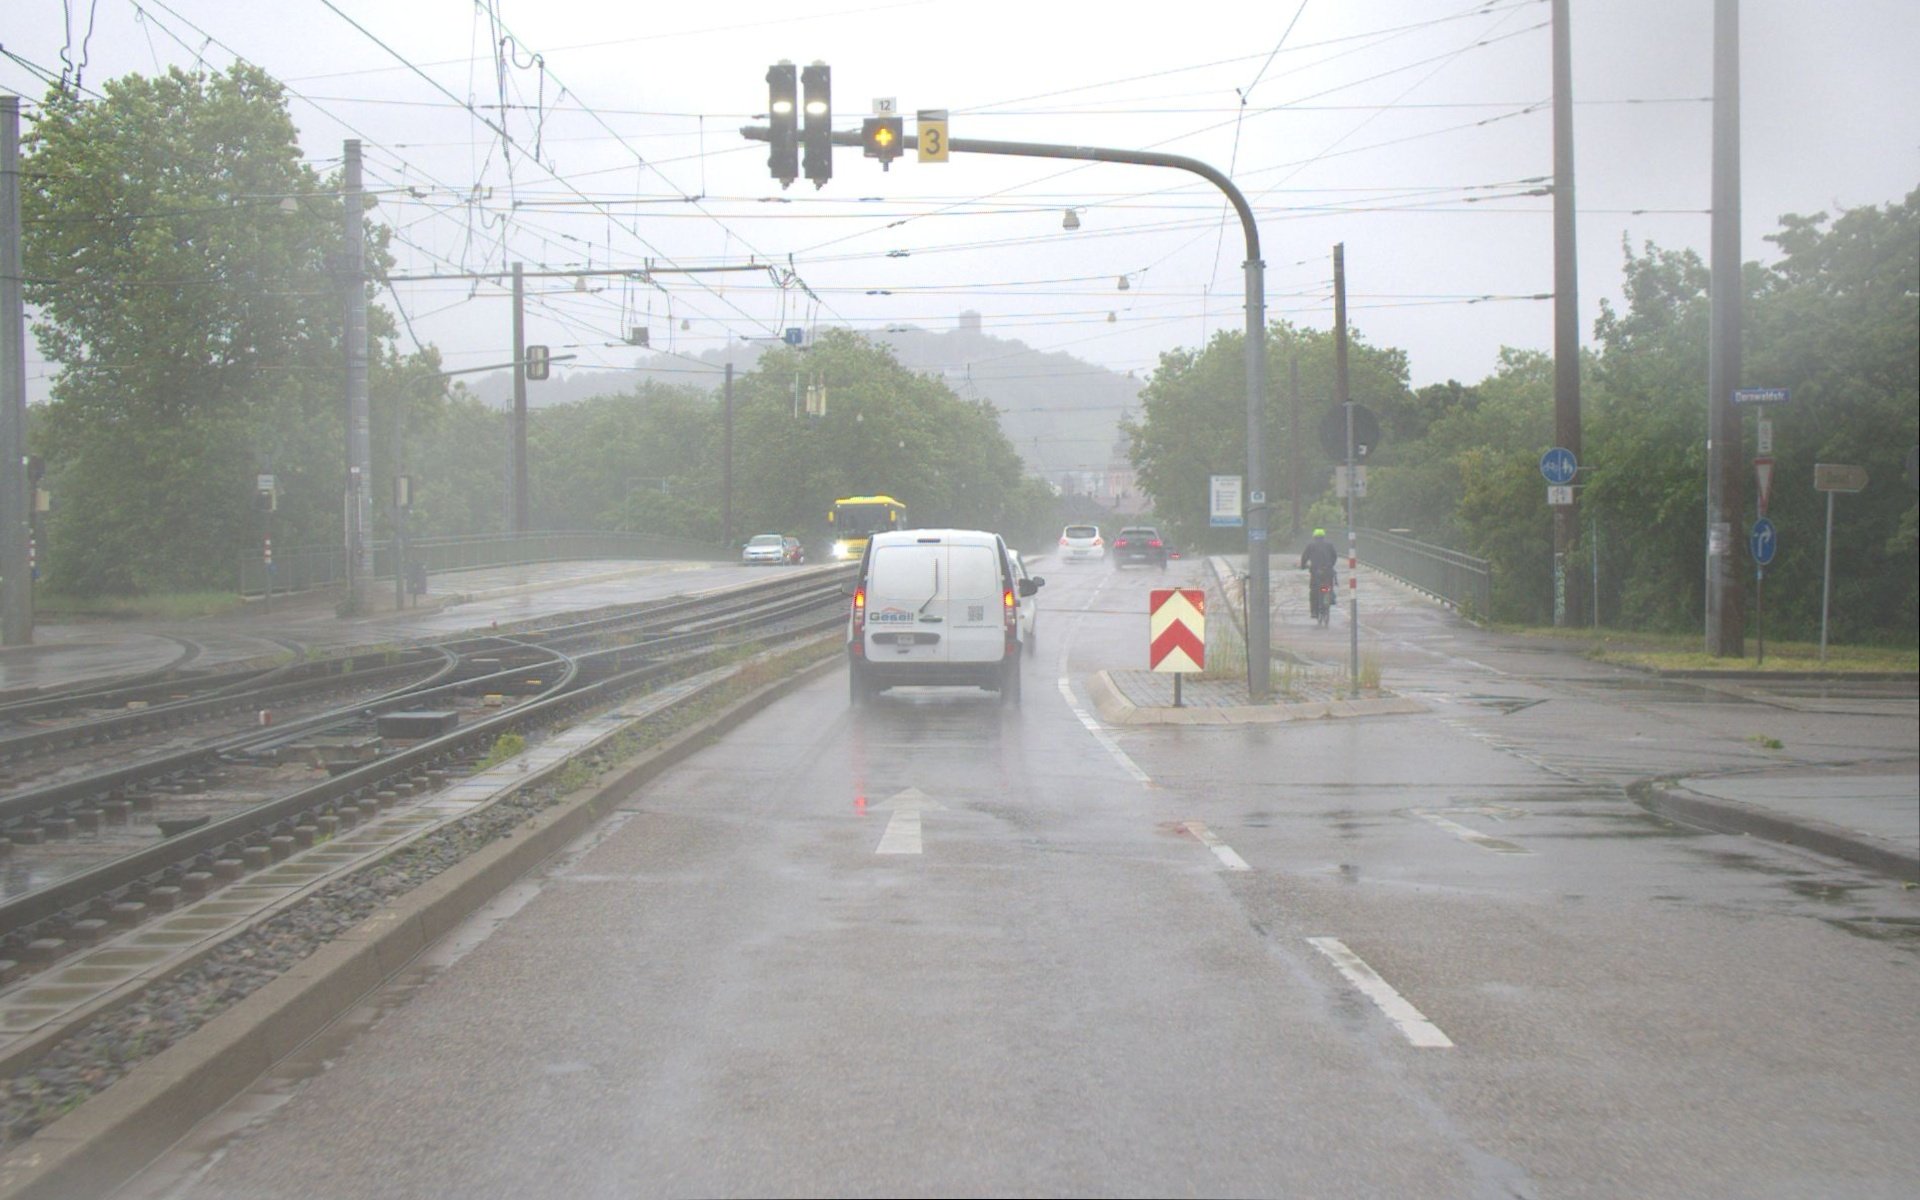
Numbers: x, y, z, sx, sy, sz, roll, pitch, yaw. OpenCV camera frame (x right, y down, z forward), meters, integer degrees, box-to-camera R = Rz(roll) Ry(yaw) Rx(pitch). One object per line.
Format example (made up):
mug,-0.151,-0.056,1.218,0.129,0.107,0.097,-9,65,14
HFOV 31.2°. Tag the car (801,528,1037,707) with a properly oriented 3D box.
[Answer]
car,-0.364,0.162,35.823,1.994,1.720,3.999,1,0,6

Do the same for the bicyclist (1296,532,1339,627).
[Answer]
bicyclist,6.759,-0.390,64.987,0.725,1.758,0.949,1,0,4

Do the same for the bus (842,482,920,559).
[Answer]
bus,-3.706,-3.846,163.231,2.708,3.329,10.993,-2,2,3

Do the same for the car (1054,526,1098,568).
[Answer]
car,4.301,-1.970,127.942,1.451,1.494,2.982,1,0,-1

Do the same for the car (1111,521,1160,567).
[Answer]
car,5.909,-1.884,116.046,1.451,1.494,2.982,1,0,-1

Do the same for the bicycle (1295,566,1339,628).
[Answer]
bicycle,6.741,-0.072,65.054,0.723,1.125,2.167,1,1,4

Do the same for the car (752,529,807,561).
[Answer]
car,-7.962,-2.431,152.105,1.934,1.227,4.100,-2,2,3
